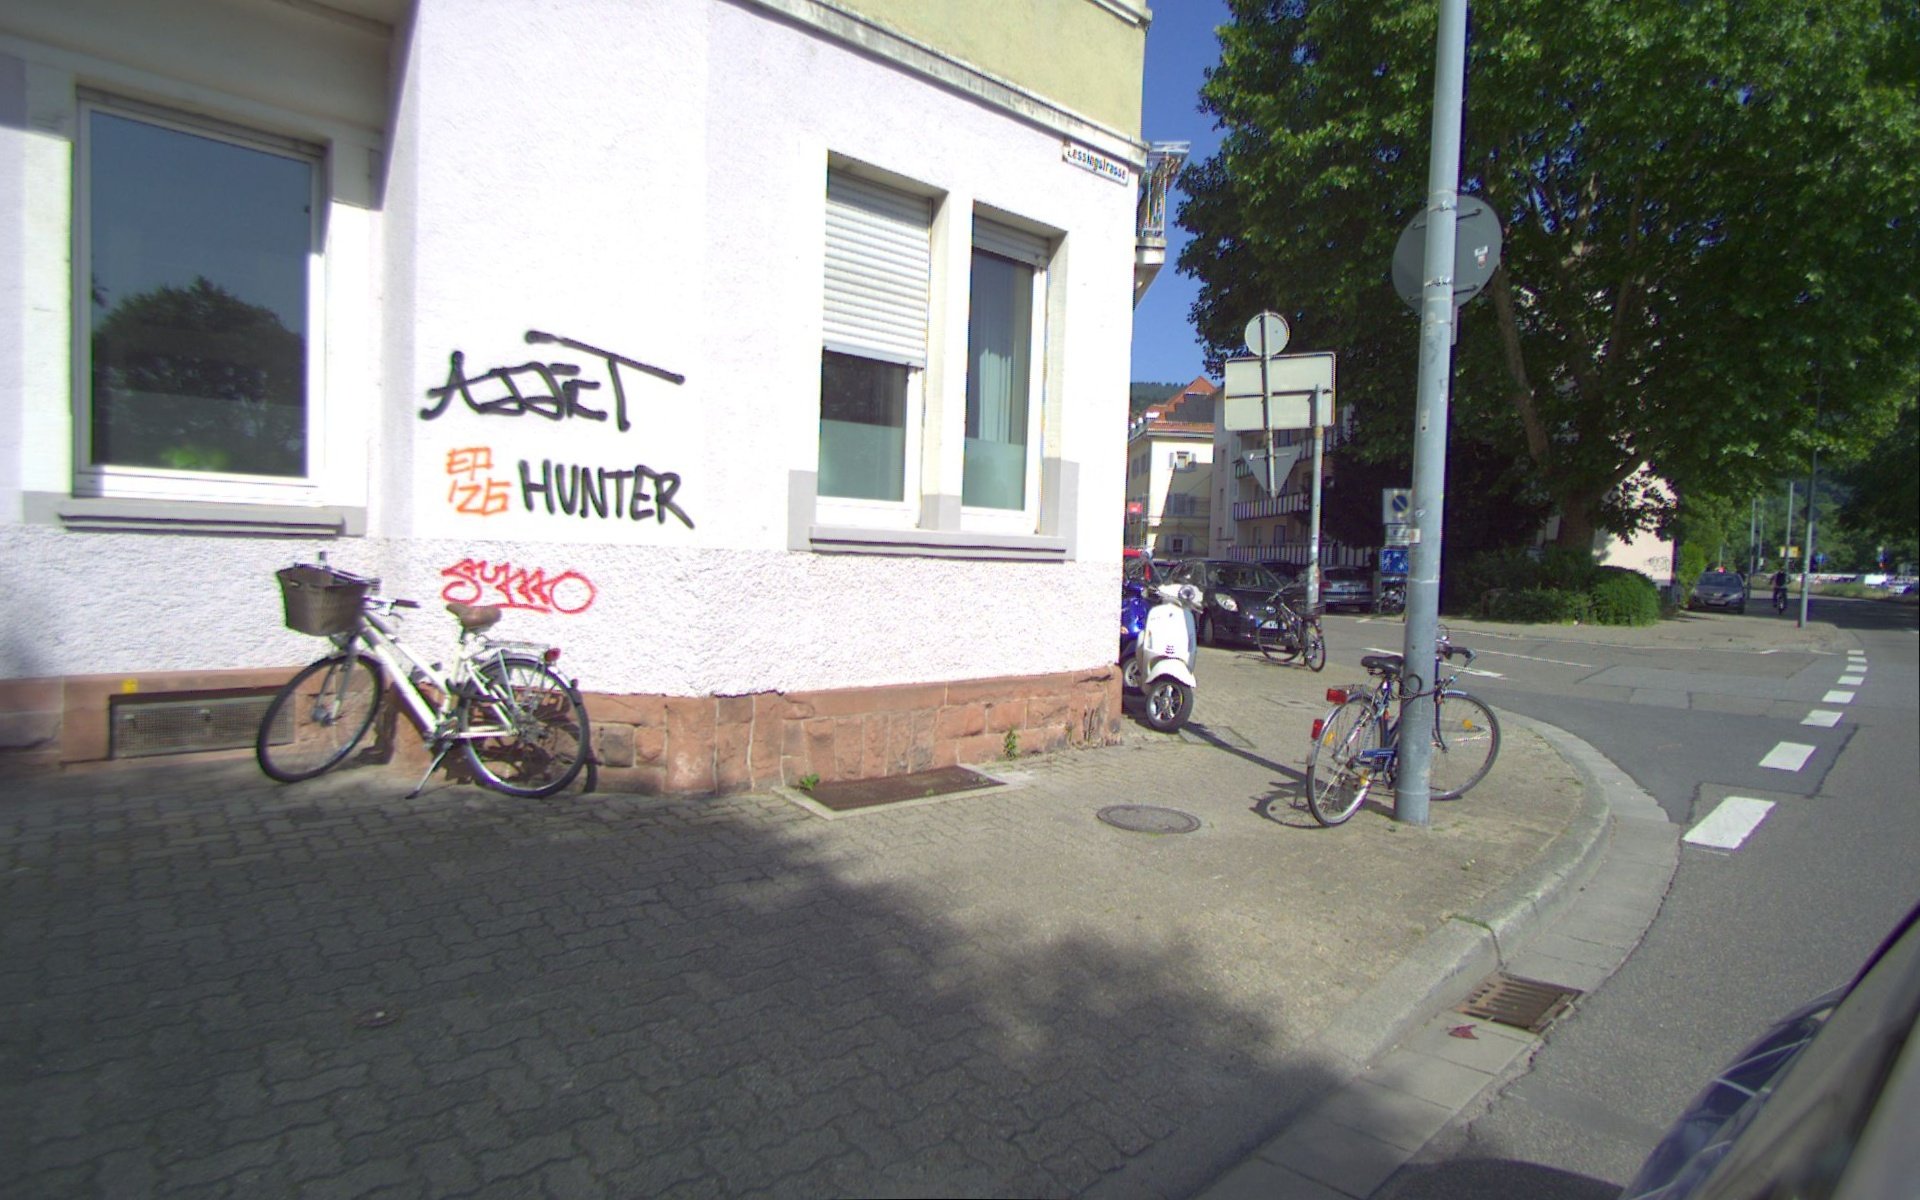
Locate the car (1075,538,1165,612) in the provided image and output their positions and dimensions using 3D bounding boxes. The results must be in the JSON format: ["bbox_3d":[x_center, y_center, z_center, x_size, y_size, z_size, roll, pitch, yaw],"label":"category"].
[{"bbox_3d":[4.351,-0.745,28.095,1.837,1.863,4.226,2,3,1],"label":"car"}]

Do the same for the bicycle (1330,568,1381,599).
[{"bbox_3d":[14.126,-0.587,36.143,1.545,1.005,0.457,3,3,0],"label":"bicycle"}]

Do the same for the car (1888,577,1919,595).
[{"bbox_3d":[85.745,-1.295,91.715,1.622,1.513,3.640,3,3,32],"label":"car"}]

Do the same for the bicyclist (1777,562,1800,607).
[{"bbox_3d":[31.155,-0.595,38.051,0.539,1.653,0.580,4,3,43],"label":"bicyclist"}]

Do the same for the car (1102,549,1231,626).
[{"bbox_3d":[4.549,-0.350,22.914,1.950,1.561,4.066,1,3,-1],"label":"car"}]

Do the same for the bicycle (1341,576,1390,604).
[{"bbox_3d":[14.043,-0.348,35.069,1.478,0.843,0.384,3,3,0],"label":"bicycle"}]

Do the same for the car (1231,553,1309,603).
[{"bbox_3d":[11.266,-0.859,37.009,1.721,1.677,3.780,2,3,2],"label":"car"}]

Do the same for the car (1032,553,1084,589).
[{"bbox_3d":[4.355,-1.341,45.532,1.833,1.504,4.003,2,3,-1],"label":"car"}]

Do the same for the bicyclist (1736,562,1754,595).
[{"bbox_3d":[47.234,-1.311,60.885,0.643,1.917,0.830,4,3,31],"label":"bicyclist"}]

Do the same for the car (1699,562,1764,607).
[{"bbox_3d":[28.671,-0.606,37.714,1.783,1.531,3.843,3,3,36],"label":"car"}]

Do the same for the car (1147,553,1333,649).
[{"bbox_3d":[4.786,-0.071,17.898,1.789,1.464,3.776,1,3,-8],"label":"car"}]

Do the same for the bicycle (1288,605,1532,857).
[{"bbox_3d":[2.470,0.606,5.454,1.706,1.100,0.577,-1,3,-44],"label":"bicycle"}]

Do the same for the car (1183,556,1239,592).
[{"bbox_3d":[11.605,-1.248,46.962,1.721,1.538,3.672,2,3,2],"label":"car"}]

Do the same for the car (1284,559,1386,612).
[{"bbox_3d":[11.530,-0.506,31.352,1.777,1.469,3.794,2,3,2],"label":"car"}]

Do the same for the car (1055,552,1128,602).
[{"bbox_3d":[4.327,-0.809,33.887,1.833,1.504,4.003,2,3,-1],"label":"car"}]

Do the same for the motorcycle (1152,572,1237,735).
[{"bbox_3d":[1.971,0.388,8.670,0.466,1.164,1.762,3,4,7],"label":"motorcycle"}]

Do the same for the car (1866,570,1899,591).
[{"bbox_3d":[89.058,-1.874,97.772,1.623,1.938,3.639,4,3,32],"label":"car"}]

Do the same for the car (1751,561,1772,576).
[{"bbox_3d":[103.995,-4.079,131.367,1.622,1.833,3.552,4,4,31],"label":"car"}]

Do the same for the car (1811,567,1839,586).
[{"bbox_3d":[91.602,-2.511,107.234,1.622,1.833,3.553,4,4,31],"label":"car"}]

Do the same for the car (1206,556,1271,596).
[{"bbox_3d":[11.590,-1.025,42.349,1.721,1.538,3.672,2,3,2],"label":"car"}]

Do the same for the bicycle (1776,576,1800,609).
[{"bbox_3d":[31.148,-0.279,38.062,0.552,1.203,1.266,4,3,43],"label":"bicycle"}]

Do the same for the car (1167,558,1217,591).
[{"bbox_3d":[11.630,-1.324,51.037,1.721,1.538,3.672,2,3,2],"label":"car"}]

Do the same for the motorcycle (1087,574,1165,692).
[{"bbox_3d":[1.722,0.311,10.686,0.420,1.107,1.452,3,2,-4],"label":"motorcycle"}]

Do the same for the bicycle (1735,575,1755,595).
[{"bbox_3d":[47.259,-0.922,60.935,0.656,1.136,1.784,4,3,30],"label":"bicycle"}]

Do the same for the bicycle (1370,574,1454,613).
[{"bbox_3d":[12.689,-0.182,28.450,1.861,0.995,0.975,2,3,-3],"label":"bicycle"}]

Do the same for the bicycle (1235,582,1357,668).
[{"bbox_3d":[4.632,0.316,14.102,0.613,1.046,1.888,1,3,-17],"label":"bicycle"}]

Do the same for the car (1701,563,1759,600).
[{"bbox_3d":[35.789,-0.881,47.126,1.634,1.593,3.957,3,3,31],"label":"car"}]

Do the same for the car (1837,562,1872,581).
[{"bbox_3d":[100.133,-3.231,113.338,1.984,1.889,3.959,5,4,30],"label":"car"}]

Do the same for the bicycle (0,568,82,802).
[{"bbox_3d":[-4.832,0.359,3.983,2.078,0.956,0.609,0,5,-42],"label":"bicycle"}]

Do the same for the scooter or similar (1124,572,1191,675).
[{"bbox_3d":[2.401,0.255,12.432,0.269,1.141,1.451,2,2,-9],"label":"scooter or similar"}]

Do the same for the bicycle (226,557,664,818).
[{"bbox_3d":[-2.388,0.378,4.779,1.794,1.059,0.538,3,3,2],"label":"bicycle"}]
